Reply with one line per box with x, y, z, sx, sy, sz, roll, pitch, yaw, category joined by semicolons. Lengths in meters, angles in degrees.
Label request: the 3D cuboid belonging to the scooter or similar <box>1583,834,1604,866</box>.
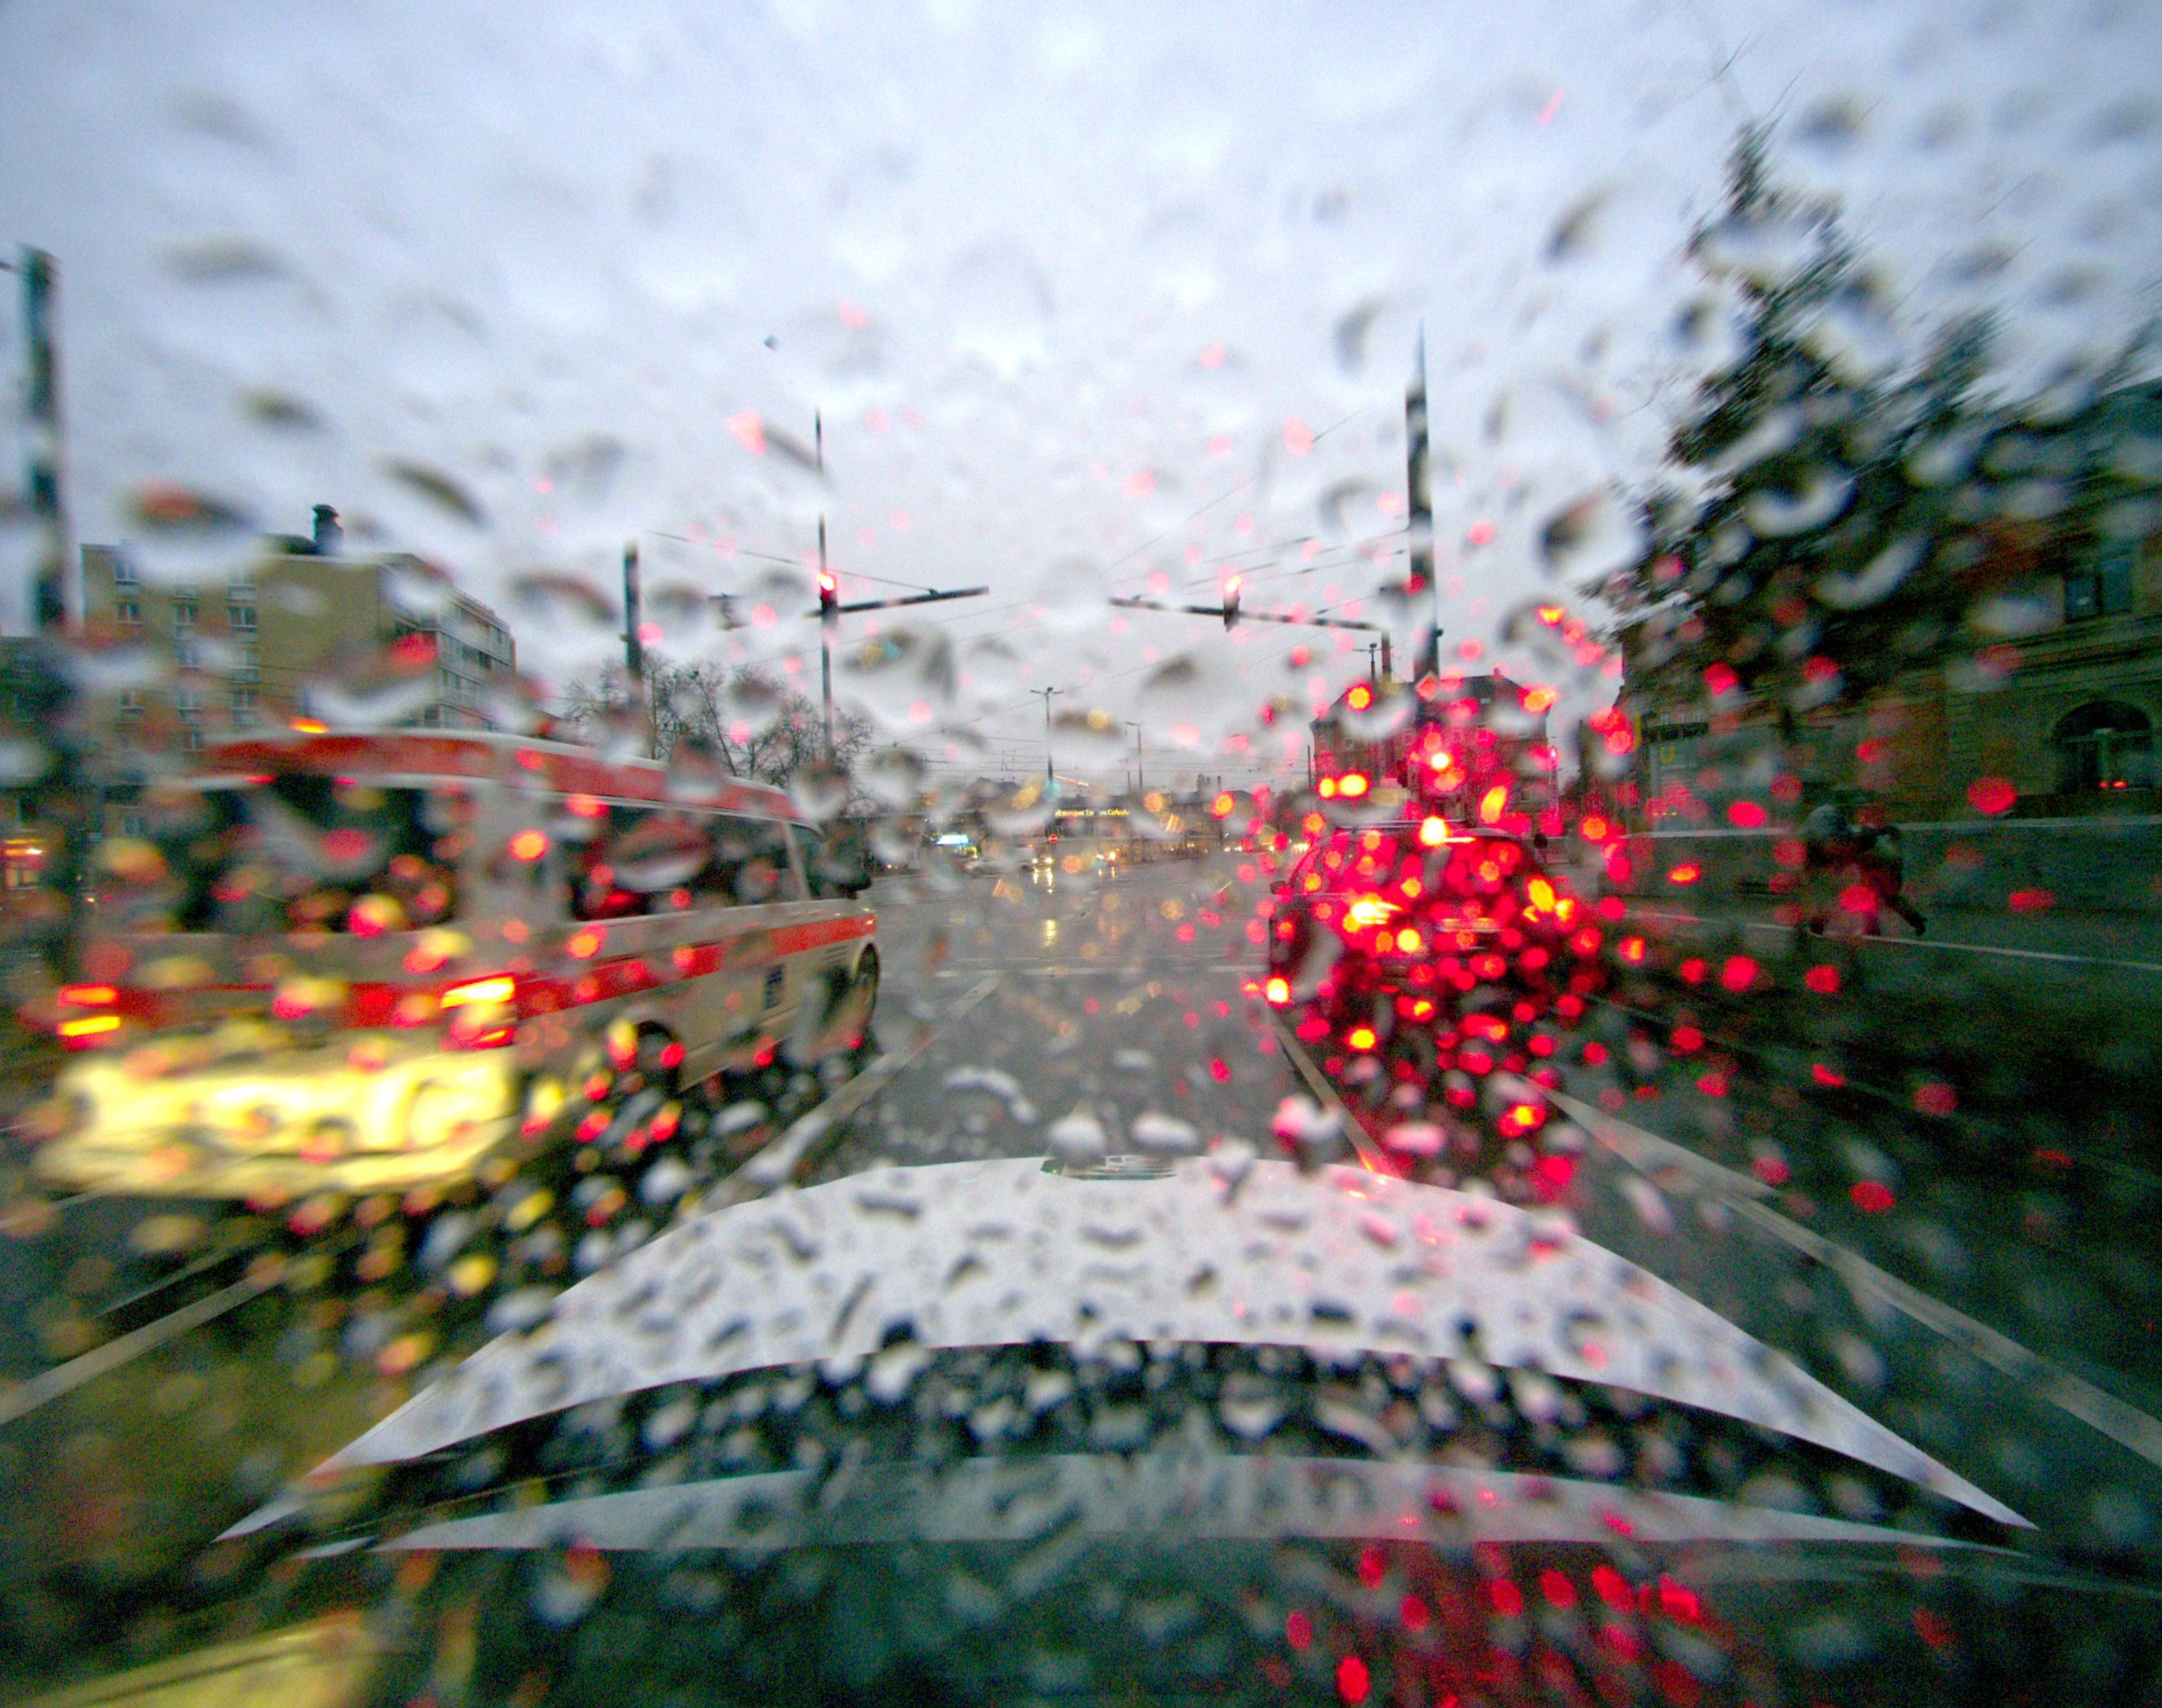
22.133;-0.167;35.170;0.669;1.317;0.832;-2;0;30;scooter or similar

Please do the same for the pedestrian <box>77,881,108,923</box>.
-44.240;2.143;36.457;0.628;1.802;0.570;-2;0;-15;pedestrian

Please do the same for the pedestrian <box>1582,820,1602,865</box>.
22.488;-0.496;35.840;0.669;1.950;0.666;-2;-1;30;pedestrian

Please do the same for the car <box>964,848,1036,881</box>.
-5.237;0.682;52.490;4.412;2.014;1.900;0;-4;-16;car

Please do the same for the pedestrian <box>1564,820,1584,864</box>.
21.927;-0.528;36.212;0.669;1.950;0.666;-2;-1;30;pedestrian

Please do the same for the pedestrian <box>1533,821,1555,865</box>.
20.988;-0.489;36.910;0.669;1.950;0.681;-3;-1;39;pedestrian

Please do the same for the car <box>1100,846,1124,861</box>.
3.248;-0.027;85.661;1.801;1.446;4.013;-2;0;12;car

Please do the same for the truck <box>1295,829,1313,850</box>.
30.772;-2.020;112.260;1.977;2.691;5.141;-2;0;20;truck

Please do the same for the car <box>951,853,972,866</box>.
-15.741;0.689;107.818;1.854;1.601;4.005;-2;0;4;car

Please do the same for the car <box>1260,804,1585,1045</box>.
3.058;0.520;8.371;1.769;1.800;4.430;-1;0;4;car

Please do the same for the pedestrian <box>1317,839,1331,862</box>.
21.304;-0.303;71.356;0.732;2.013;0.782;-2;-1;-27;pedestrian

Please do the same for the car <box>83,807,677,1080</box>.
-5.676;0.597;7.440;1.878;1.772;4.001;-1;0;1;car

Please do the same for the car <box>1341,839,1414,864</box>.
22.017;-0.214;60.643;4.786;1.657;1.739;-2;0;-3;car

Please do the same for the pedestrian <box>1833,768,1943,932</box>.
10.351;-0.061;10.487;0.800;2.013;0.765;0;2;27;pedestrian

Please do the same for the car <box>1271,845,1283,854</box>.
37.730;-0.878;156.806;1.846;1.601;3.806;-2;0;20;car

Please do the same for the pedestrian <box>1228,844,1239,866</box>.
12.941;0.102;69.045;0.595;1.840;0.613;-2;0;-32;pedestrian

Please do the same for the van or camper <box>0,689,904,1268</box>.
-3.003;0.464;5.510;2.192;2.109;4.992;-1;0;4;van or camper

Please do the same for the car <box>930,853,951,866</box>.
-18.622;0.766;108.147;1.854;1.601;4.005;-2;0;4;car

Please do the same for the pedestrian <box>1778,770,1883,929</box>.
9.564;-0.070;10.433;0.800;1.929;0.765;0;2;27;pedestrian

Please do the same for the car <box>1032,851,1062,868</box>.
-3.184;0.506;76.539;1.801;1.446;4.013;-2;0;12;car
